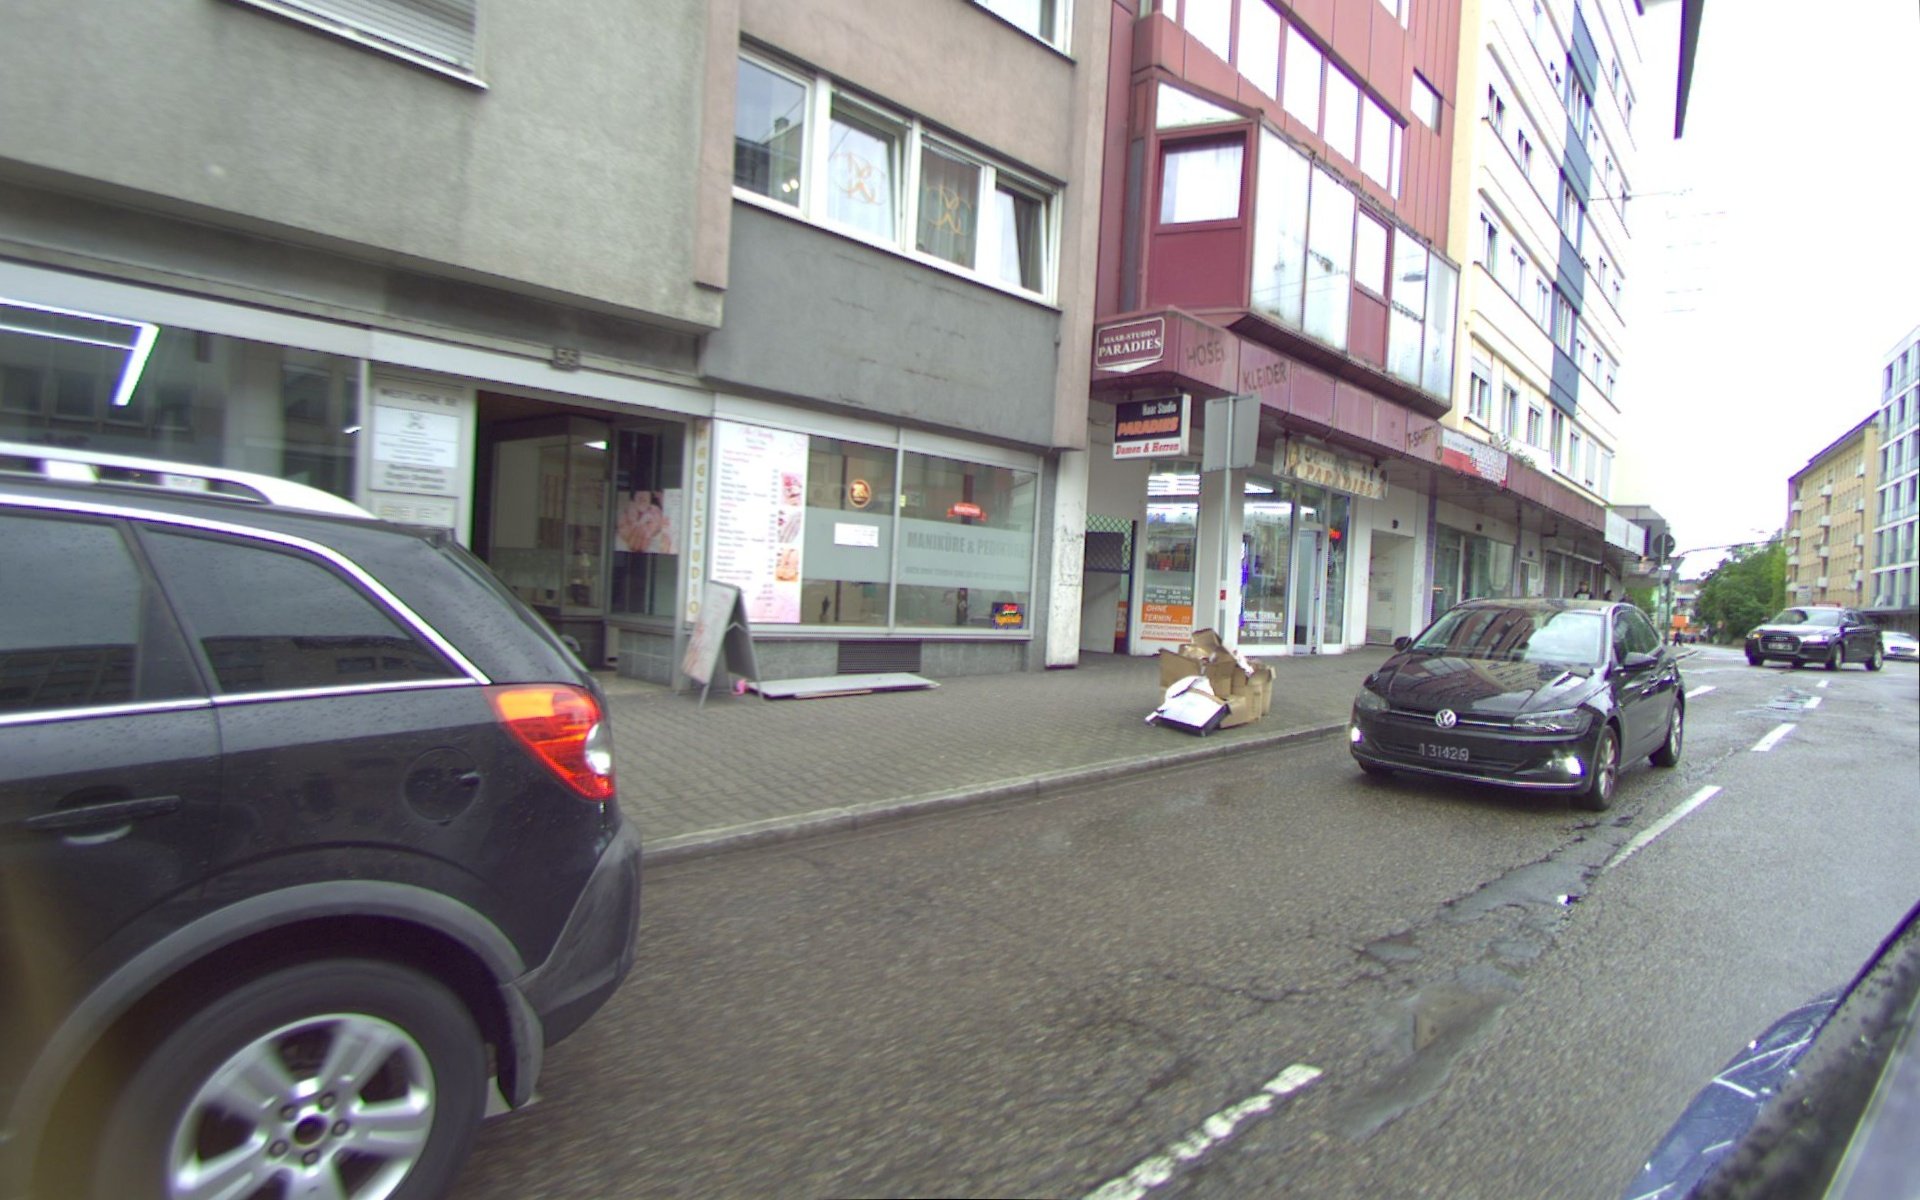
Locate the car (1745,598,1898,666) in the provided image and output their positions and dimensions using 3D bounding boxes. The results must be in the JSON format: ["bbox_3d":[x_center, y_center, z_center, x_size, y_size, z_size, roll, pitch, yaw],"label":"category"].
[{"bbox_3d":[21.634,0.779,25.377,4.023,1.567,1.873,1,-1,-33],"label":"car"}]

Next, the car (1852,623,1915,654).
[{"bbox_3d":[48.749,1.993,53.491,1.797,1.517,3.953,0,-1,32],"label":"car"}]

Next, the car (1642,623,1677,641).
[{"bbox_3d":[73.005,3.356,105.674,1.976,1.640,4.095,2,1,21],"label":"car"}]

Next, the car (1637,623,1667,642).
[{"bbox_3d":[57.548,2.696,84.209,1.771,1.472,3.955,1,-2,31],"label":"car"}]

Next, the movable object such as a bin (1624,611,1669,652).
[{"bbox_3d":[17.402,0.788,25.654,0.658,0.945,0.533,4,3,-10],"label":"movable object such as a bin"}]

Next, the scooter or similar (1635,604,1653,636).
[{"bbox_3d":[29.978,0.885,44.374,1.128,1.377,0.377,1,0,-41],"label":"scooter or similar"}]

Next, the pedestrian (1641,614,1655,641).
[{"bbox_3d":[43.284,1.742,63.636,0.732,1.666,0.634,0,-1,35],"label":"pedestrian"}]

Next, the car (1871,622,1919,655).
[{"bbox_3d":[44.992,1.848,47.959,1.961,1.405,3.953,5,1,33],"label":"car"}]

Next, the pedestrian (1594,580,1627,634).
[{"bbox_3d":[22.118,0.244,34.420,0.772,1.786,0.618,2,-1,-25],"label":"pedestrian"}]

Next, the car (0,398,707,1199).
[{"bbox_3d":[-2.872,0.533,1.890,4.224,1.808,1.911,2,-1,-39],"label":"car"}]

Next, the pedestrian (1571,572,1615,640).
[{"bbox_3d":[17.545,0.170,28.044,0.834,1.786,0.609,6,1,37],"label":"pedestrian"}]

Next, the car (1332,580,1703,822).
[{"bbox_3d":[4.691,0.607,8.255,1.738,1.448,3.820,3,2,43],"label":"car"}]

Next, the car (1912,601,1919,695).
[{"bbox_3d":[17.790,0.814,16.635,4.641,1.510,2.002,1,1,-32],"label":"car"}]

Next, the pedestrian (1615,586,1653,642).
[{"bbox_3d":[21.598,0.452,32.426,0.738,1.745,0.755,2,-1,-25],"label":"pedestrian"}]
